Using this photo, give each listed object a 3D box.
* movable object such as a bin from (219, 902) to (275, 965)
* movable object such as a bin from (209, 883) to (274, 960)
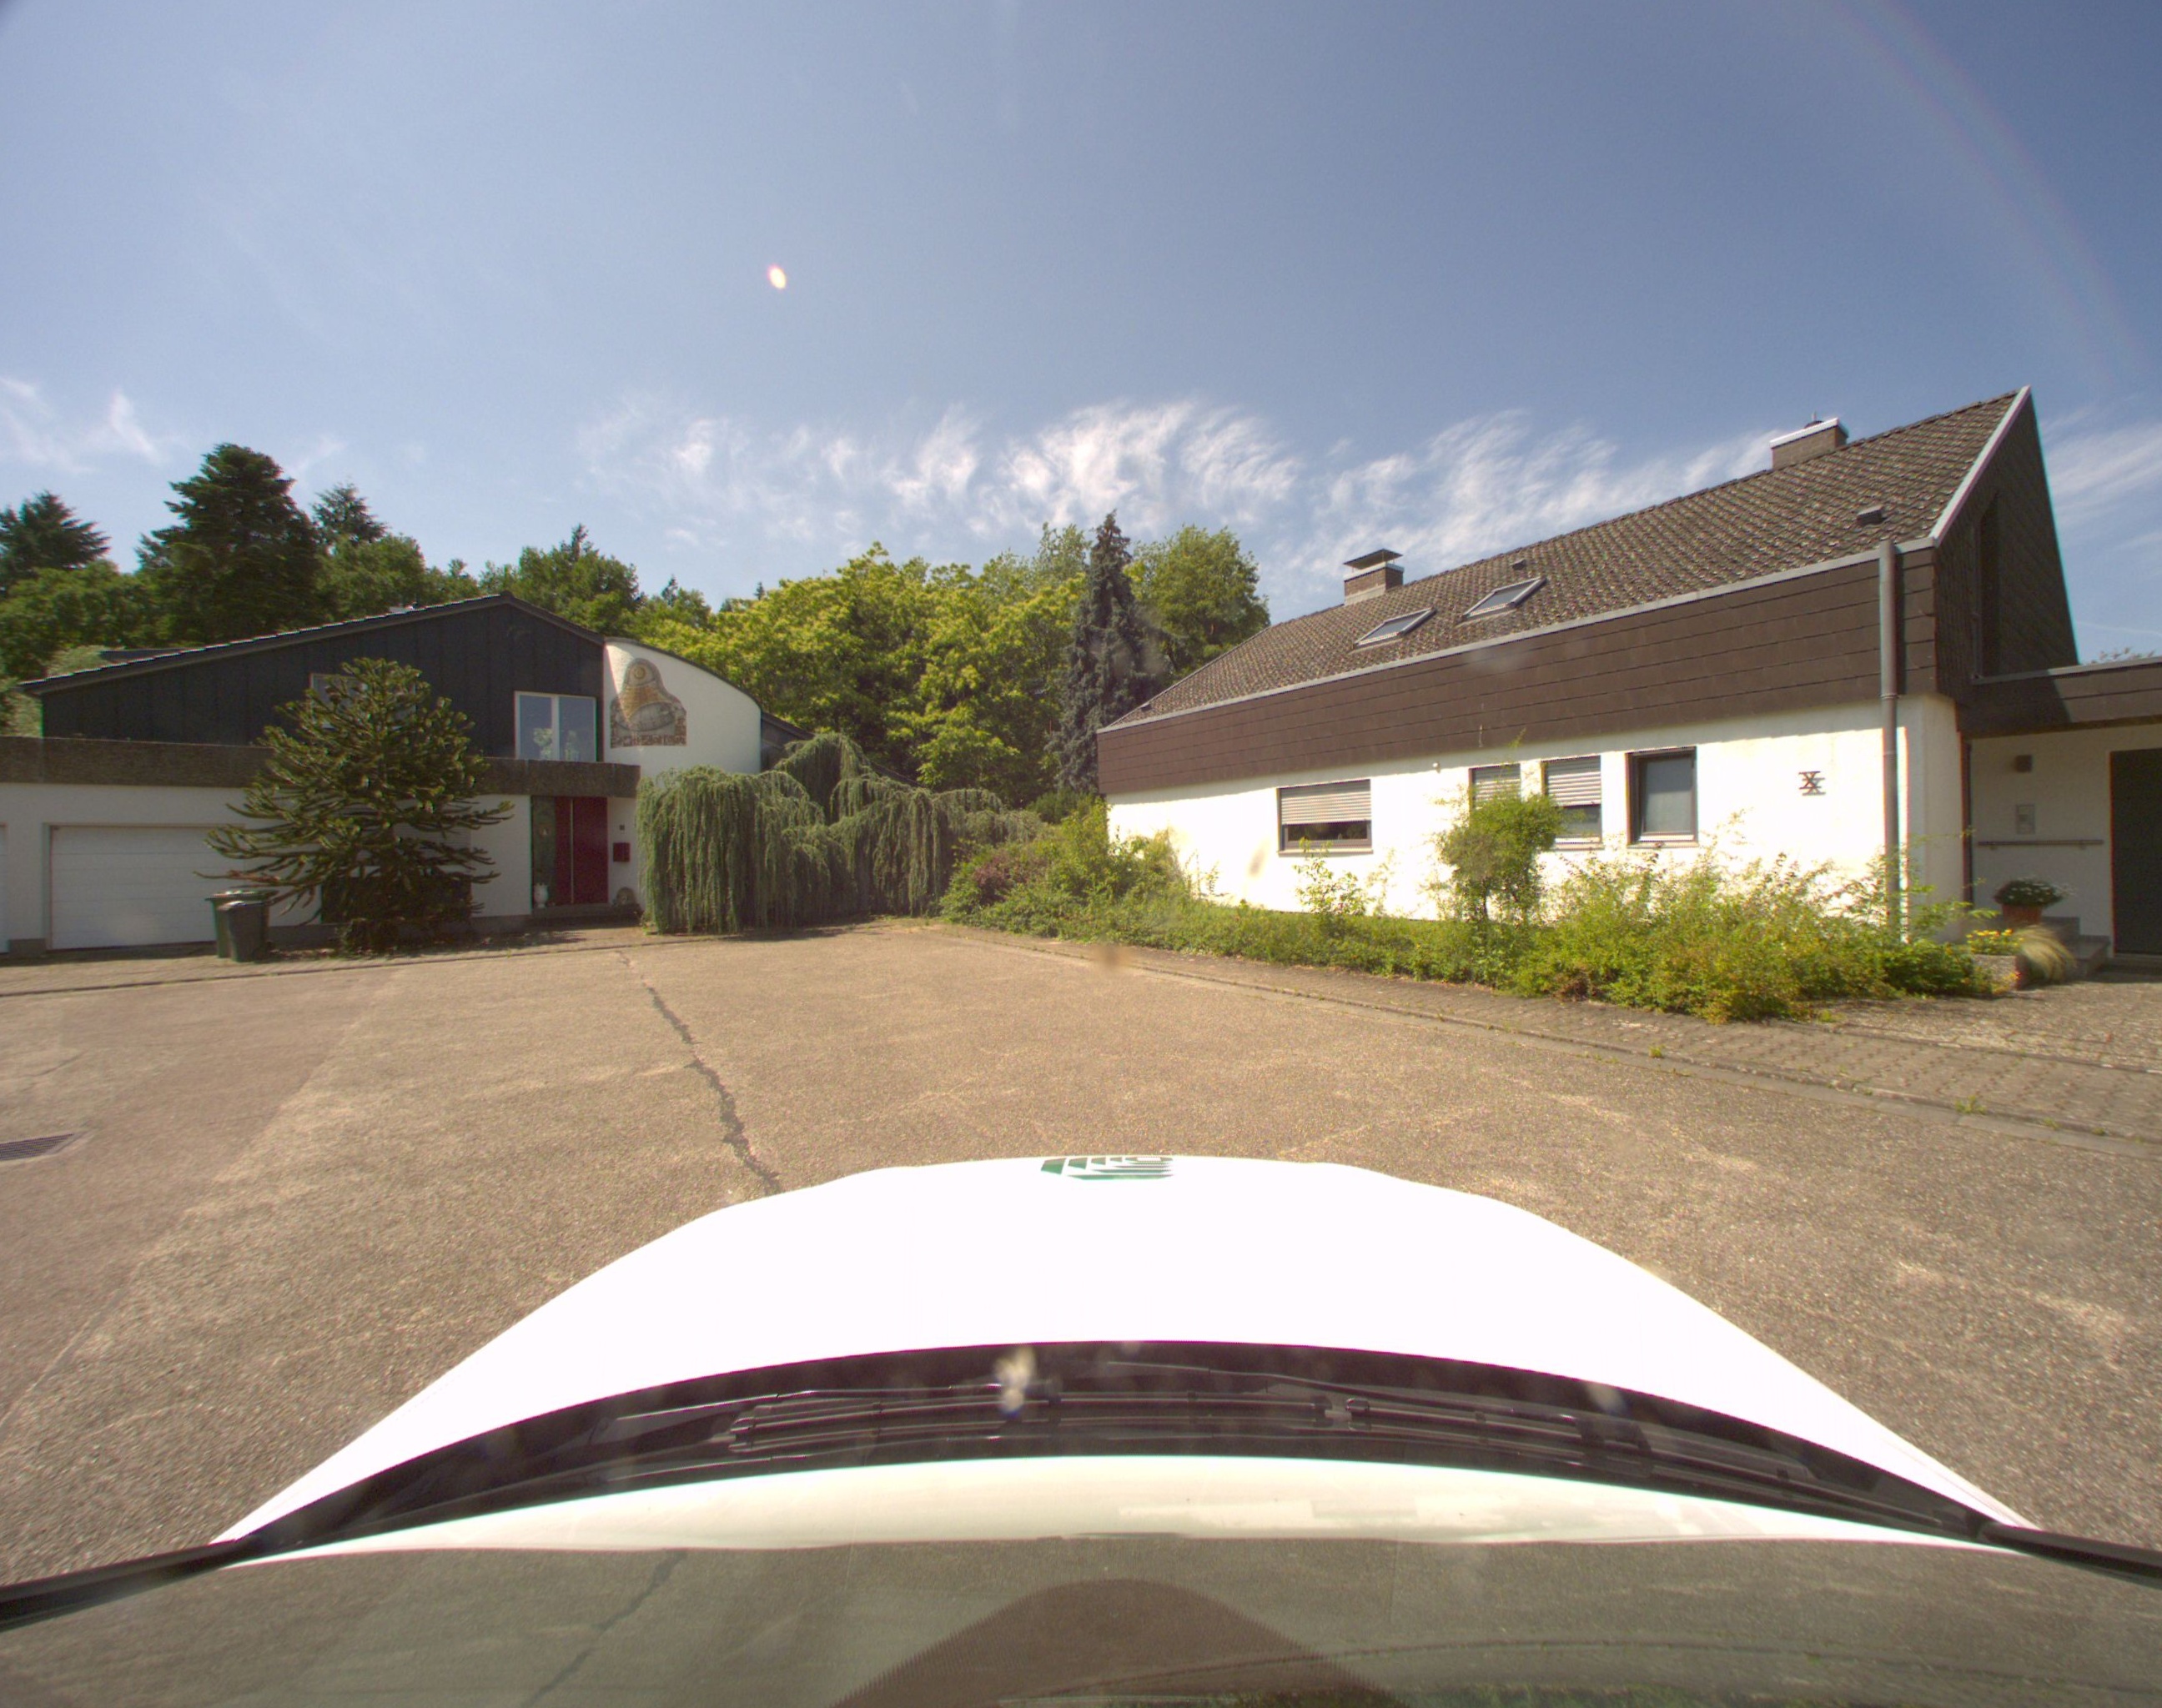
[{"bbox_3d":[-13.260,1.255,12.950,0.384,0.950,0.527,-2,0,29],"label":"movable object such as a bin"},{"bbox_3d":[-13.854,1.100,13.453,0.636,1.203,0.545,-1,-1,-35],"label":"movable object such as a bin"}]
